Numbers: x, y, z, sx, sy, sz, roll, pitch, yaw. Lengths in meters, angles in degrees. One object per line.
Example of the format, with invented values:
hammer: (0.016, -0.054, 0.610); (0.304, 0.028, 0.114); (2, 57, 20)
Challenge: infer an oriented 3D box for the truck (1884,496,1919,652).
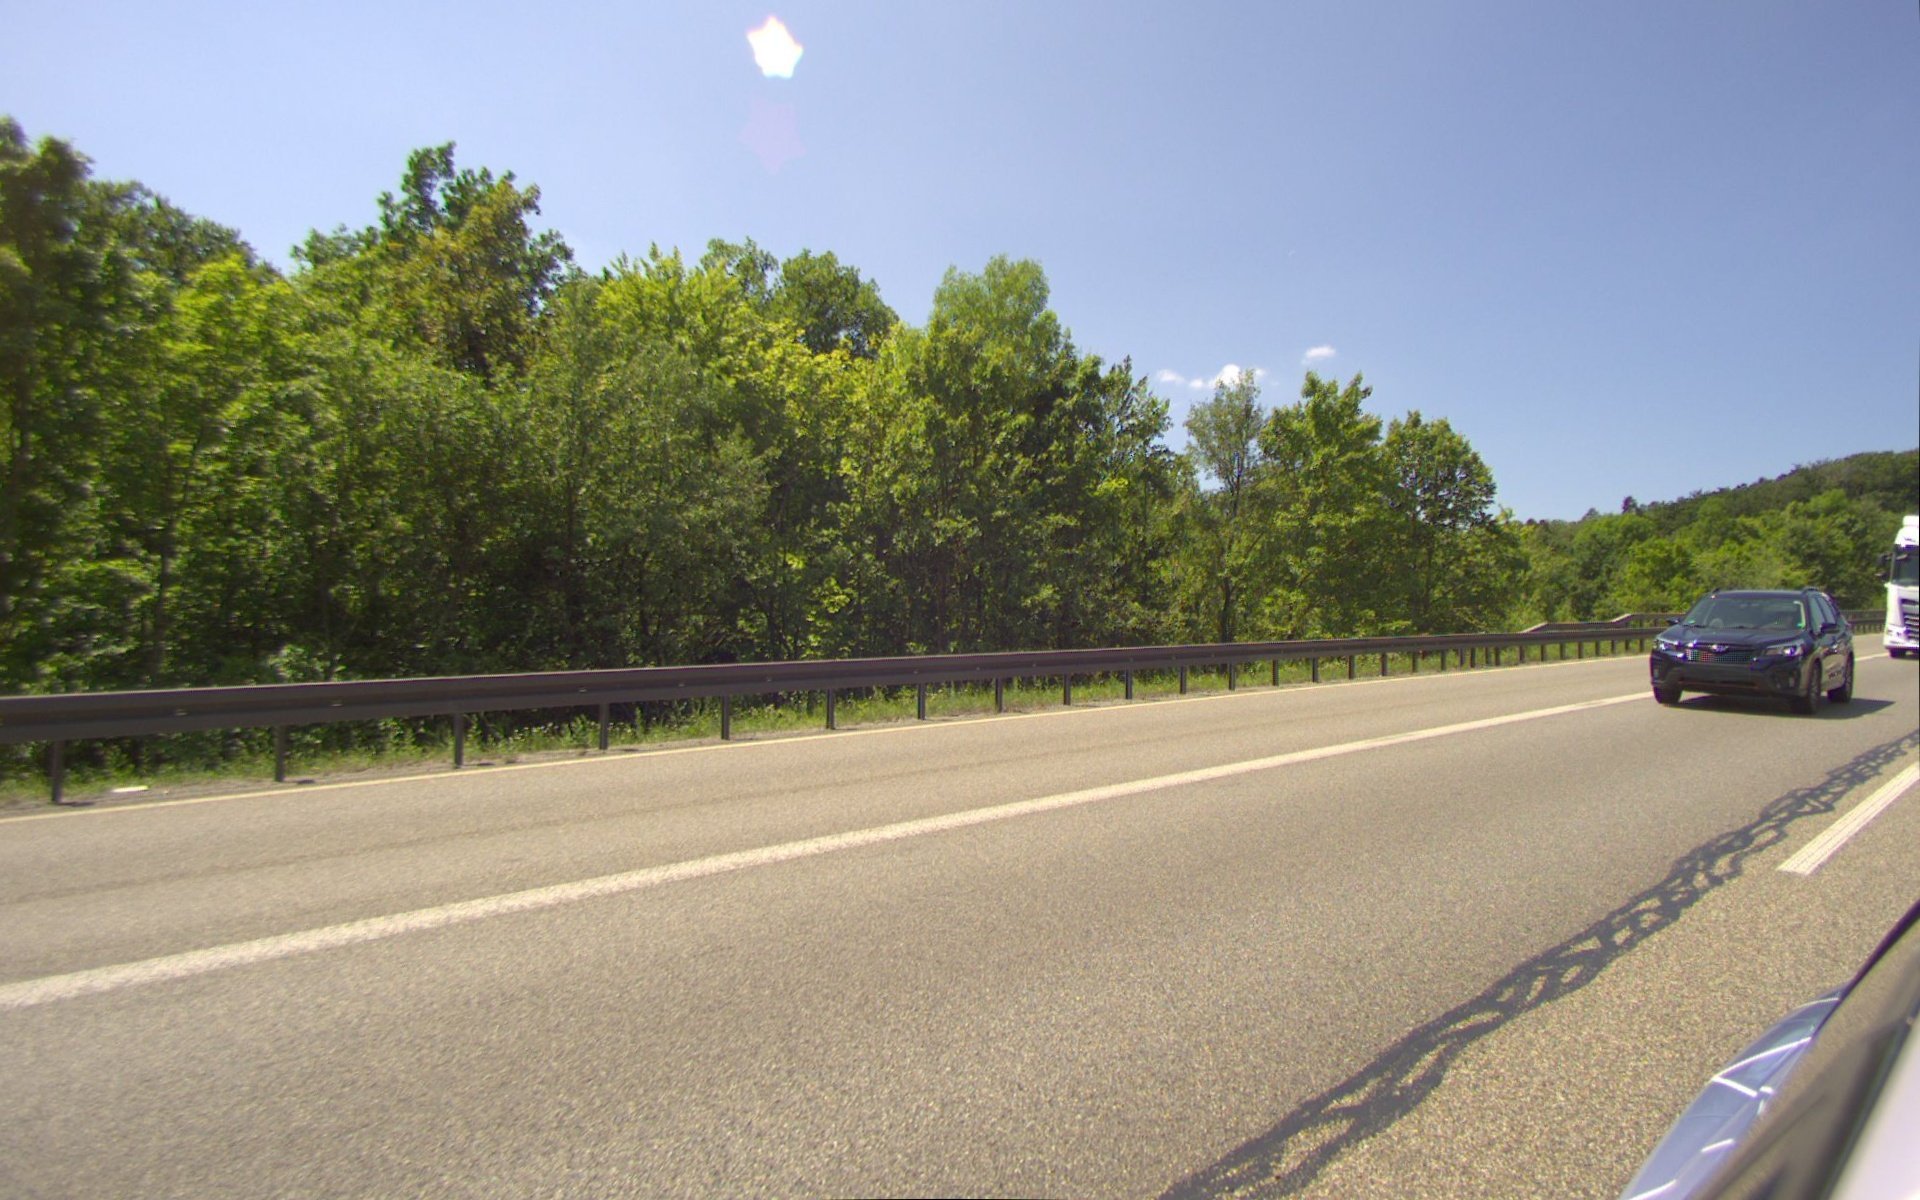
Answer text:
truck: (32.742, -0.694, 31.989); (15.972, 4.221, 2.789); (0, 0, -39)

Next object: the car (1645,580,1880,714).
car: (11.823, 0.570, 14.829); (4.127, 1.688, 1.816); (0, 1, -38)
